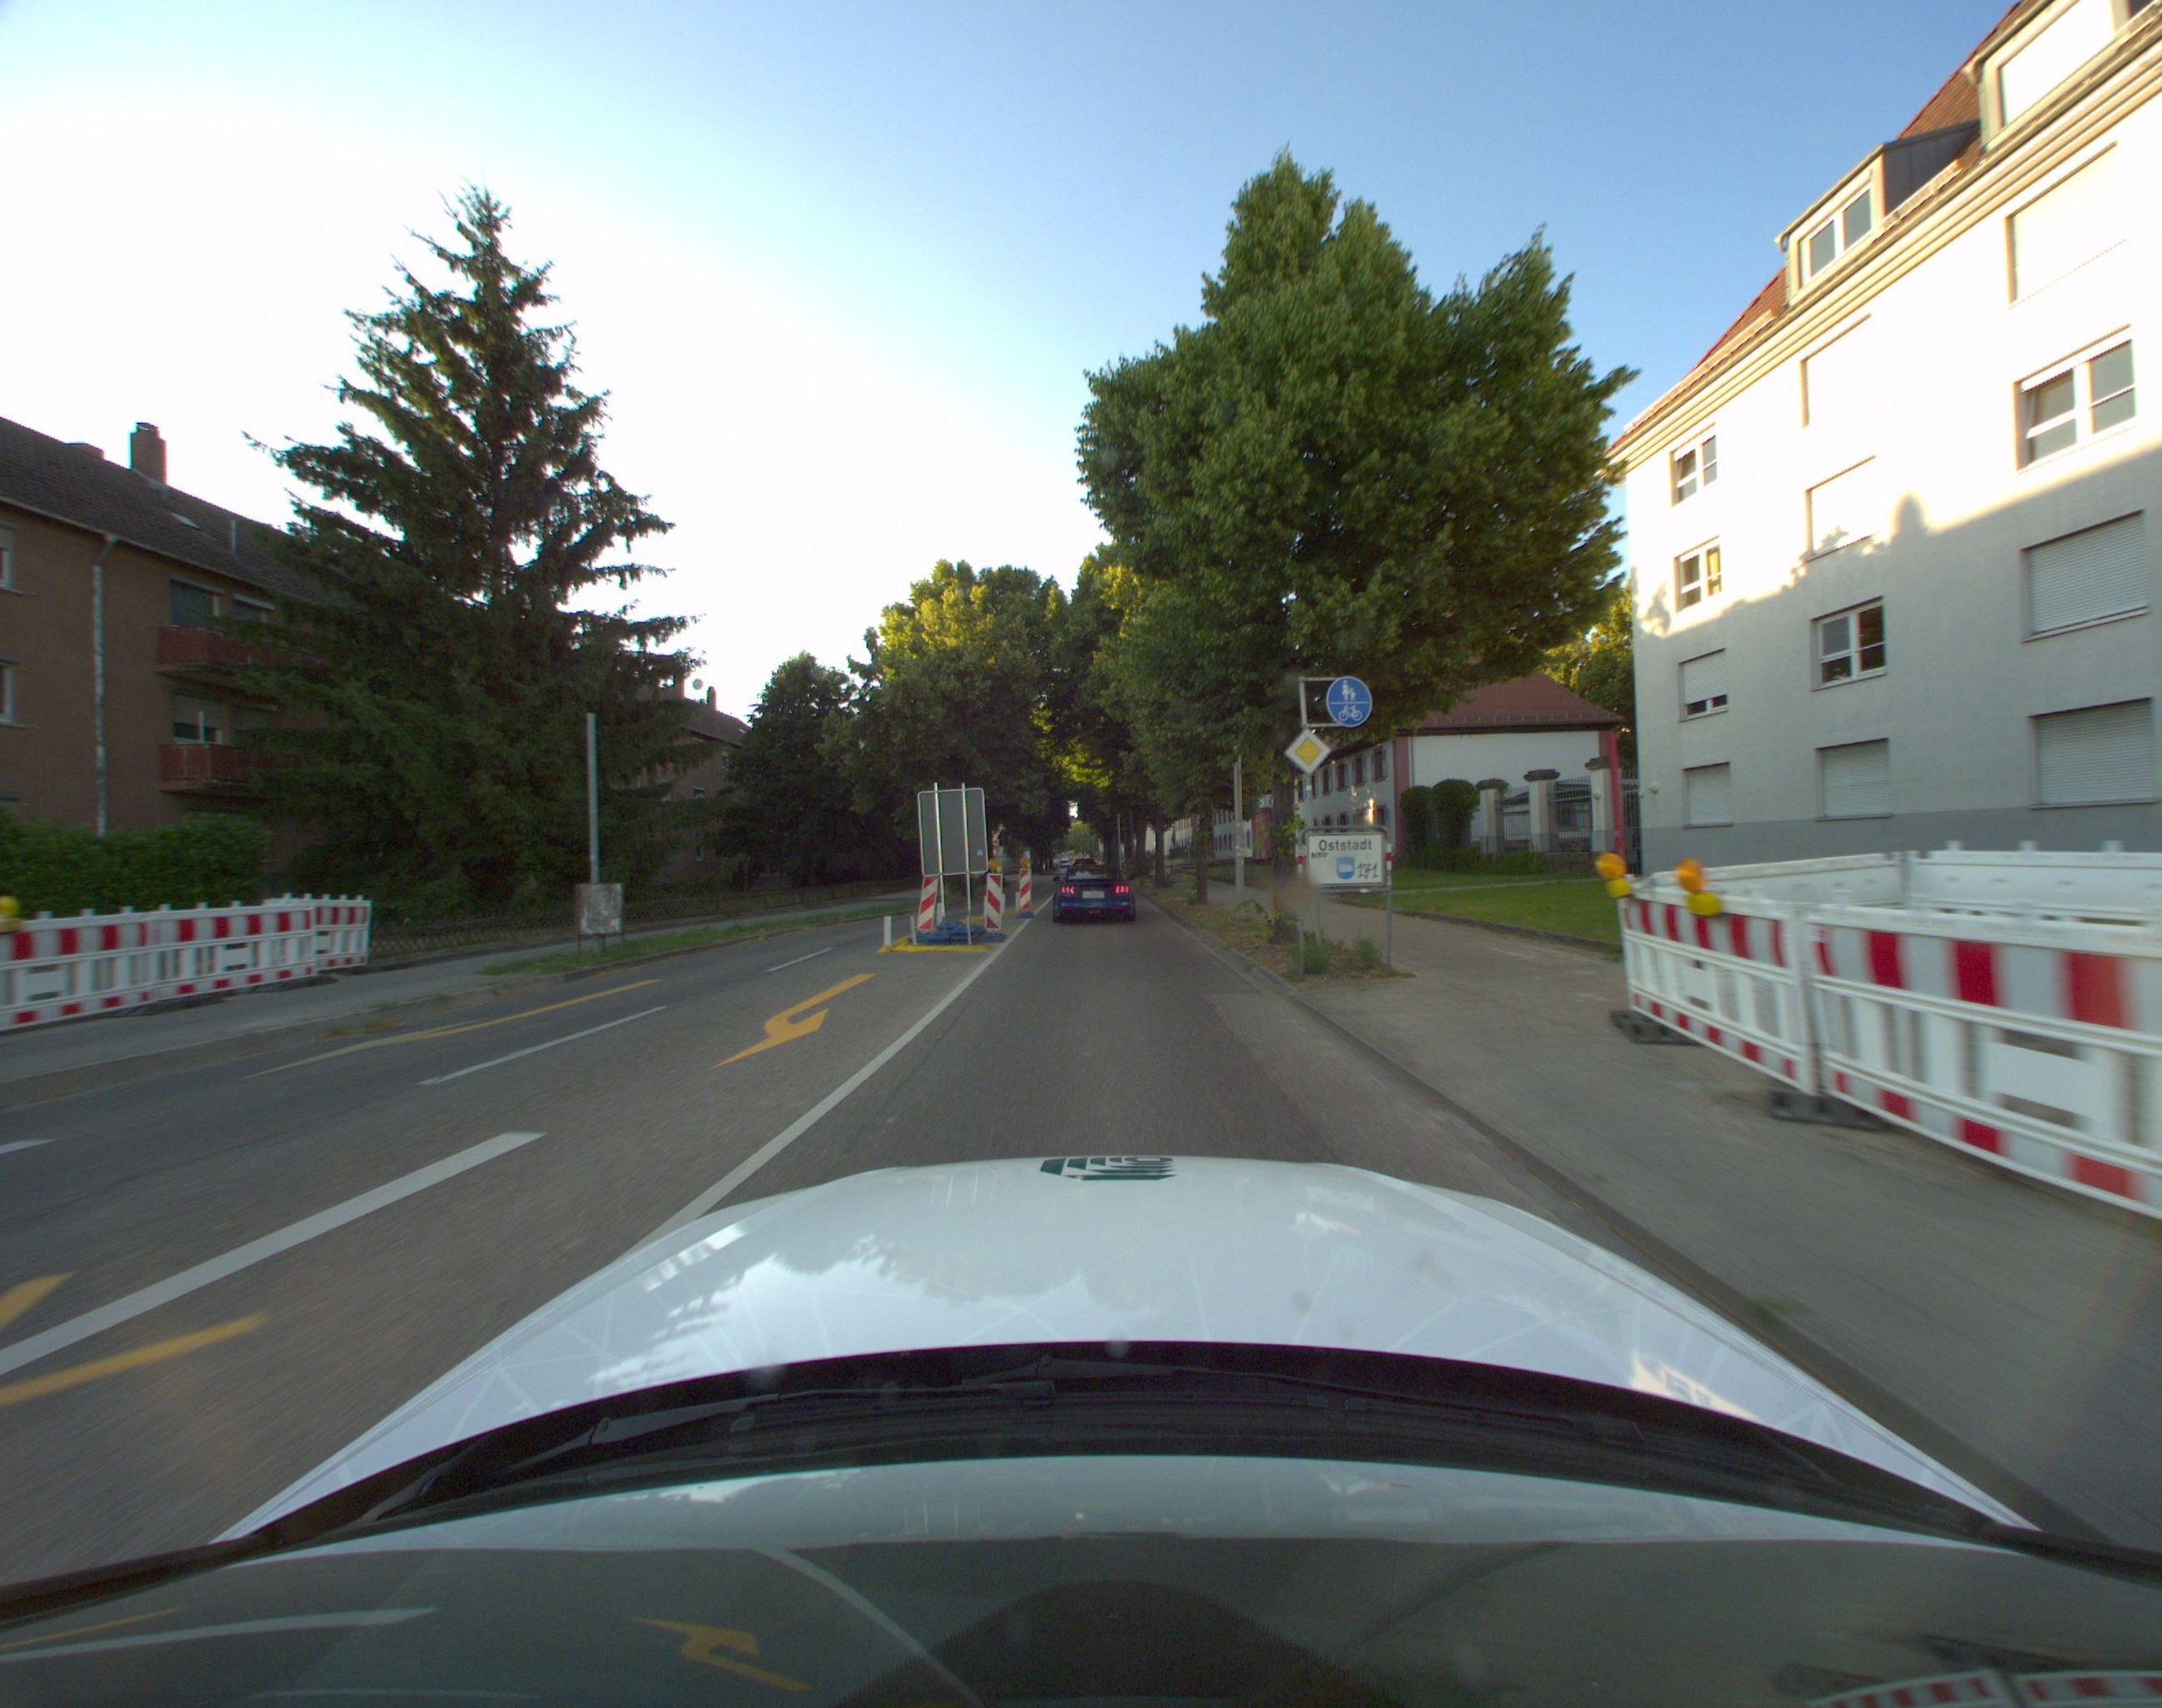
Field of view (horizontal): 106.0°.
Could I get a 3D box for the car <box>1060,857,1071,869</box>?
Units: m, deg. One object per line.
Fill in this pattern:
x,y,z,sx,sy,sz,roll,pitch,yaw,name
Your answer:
-3.758,2.208,198.745,2.484,2.697,5.829,-3,-1,0,car

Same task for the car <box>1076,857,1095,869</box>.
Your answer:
0.555,0.981,88.665,1.939,1.327,4.002,-1,-1,2,car

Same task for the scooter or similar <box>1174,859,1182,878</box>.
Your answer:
6.528,1.003,55.016,0.239,1.276,1.265,-3,-1,-4,scooter or similar

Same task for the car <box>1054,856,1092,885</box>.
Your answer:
-0.403,0.896,45.999,1.939,1.527,4.002,-1,-1,2,car

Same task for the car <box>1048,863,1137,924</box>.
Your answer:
0.268,0.884,20.017,1.940,1.327,3.999,-1,-1,0,car

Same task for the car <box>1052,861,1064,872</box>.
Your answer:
-5.172,2.854,187.098,2.327,2.198,5.311,-3,-1,2,car
